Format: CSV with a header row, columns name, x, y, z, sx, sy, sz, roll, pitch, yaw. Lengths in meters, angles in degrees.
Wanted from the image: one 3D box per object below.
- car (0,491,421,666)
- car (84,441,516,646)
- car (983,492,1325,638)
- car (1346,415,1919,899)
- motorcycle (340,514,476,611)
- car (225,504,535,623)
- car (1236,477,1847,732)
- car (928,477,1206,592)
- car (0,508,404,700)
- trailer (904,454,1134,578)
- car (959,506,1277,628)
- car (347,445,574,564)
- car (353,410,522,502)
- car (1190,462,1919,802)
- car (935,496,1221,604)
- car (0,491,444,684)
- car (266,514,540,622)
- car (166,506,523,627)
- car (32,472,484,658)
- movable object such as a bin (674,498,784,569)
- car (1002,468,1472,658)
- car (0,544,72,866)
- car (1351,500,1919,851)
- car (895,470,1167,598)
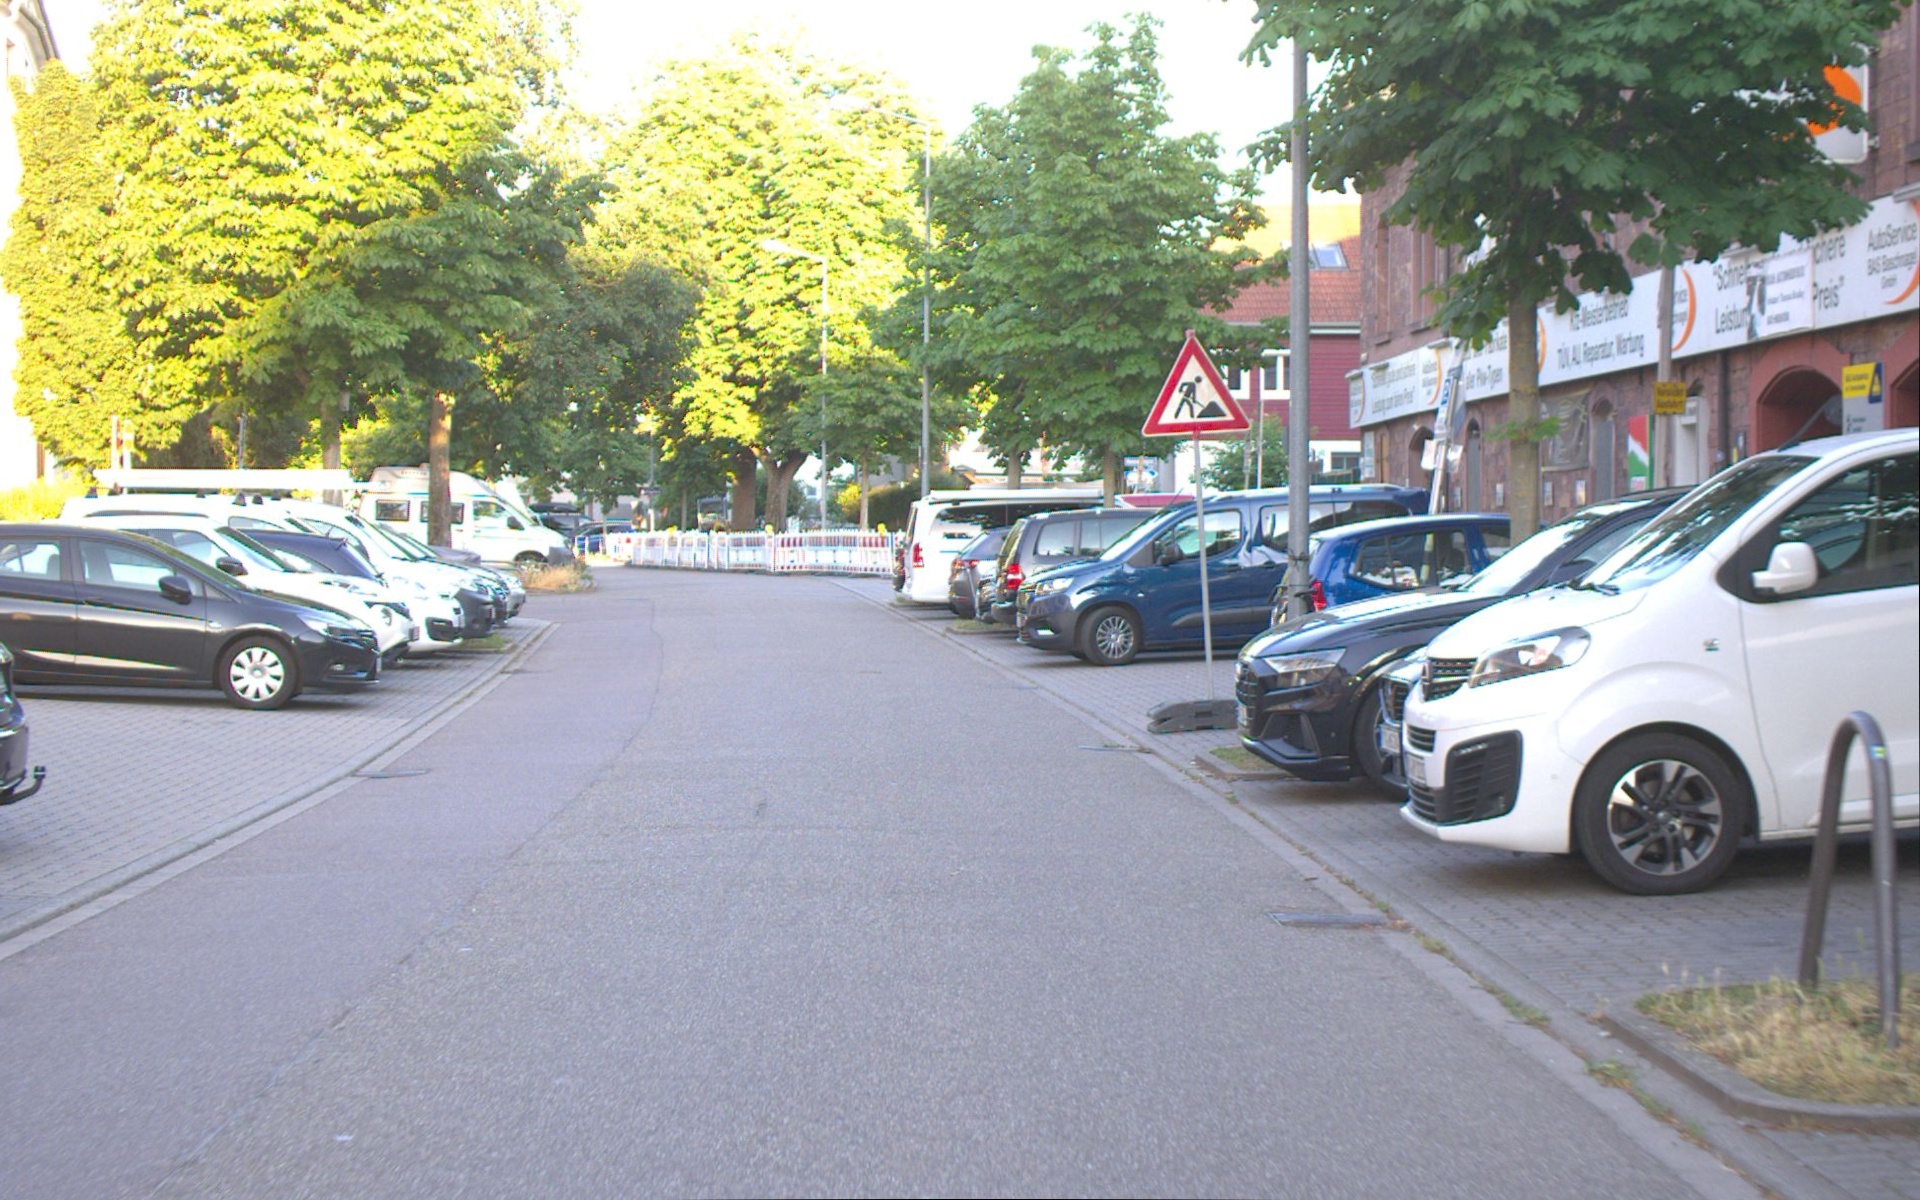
name,x,y,z,sx,sy,sz,roll,pitch,yaw
car,-7.544,-0.232,34.551,3.986,1.479,1.756,3,1,-4
car,-7.542,-0.678,39.603,4.512,2.063,2.000,3,2,0
car,2.389,-0.451,42.958,3.986,1.613,1.895,-3,1,-4
car,4.144,0.140,14.984,4.587,1.855,2.012,-3,1,-1
motorcycle,-8.235,-0.563,51.310,1.985,1.431,0.722,0,1,-8
car,-7.909,-0.508,47.104,3.986,1.578,1.729,0,1,-2
car,4.150,0.010,24.956,3.986,1.540,1.845,-4,1,-3
car,1.694,-1.057,55.455,4.300,1.793,1.904,0,1,-4
car,-7.077,-0.010,29.350,4.407,1.447,1.828,3,1,-5
trailer,1.039,-1.516,62.155,3.986,2.180,2.000,0,1,-4
car,2.059,-0.448,45.503,3.945,1.560,1.821,0,1,-7
car,-10.938,-2.087,75.532,4.731,2.560,2.000,0,1,-2
car,-14.359,-3.938,94.399,4.501,2.422,2.001,0,1,-11
car,3.806,0.128,19.944,4.694,1.626,2.000,-4,2,-1
car,1.683,-0.731,49.929,3.986,1.504,1.777,0,1,-4
car,-7.054,-0.143,32.037,4.243,1.615,1.813,2,2,-3
car,-8.008,-0.469,49.646,3.713,1.501,1.690,0,1,-2
car,-8.002,-0.450,44.968,4.326,1.400,1.852,2,1,-2
car,-7.463,-0.391,36.883,4.421,1.796,1.944,2,2,-1
movable object such as a bin,-8.128,-2.331,120.263,2.627,2.394,5.199,0,1,-18
car,2.970,-0.435,37.564,4.786,1.748,2.018,-3,2,-4
car,-6.388,0.380,15.950,4.137,1.411,1.739,2,1,-6
car,4.122,0.300,17.312,3.987,1.491,1.892,-4,1,-1
car,1.052,-1.010,52.793,3.986,1.897,2.000,0,1,-4
